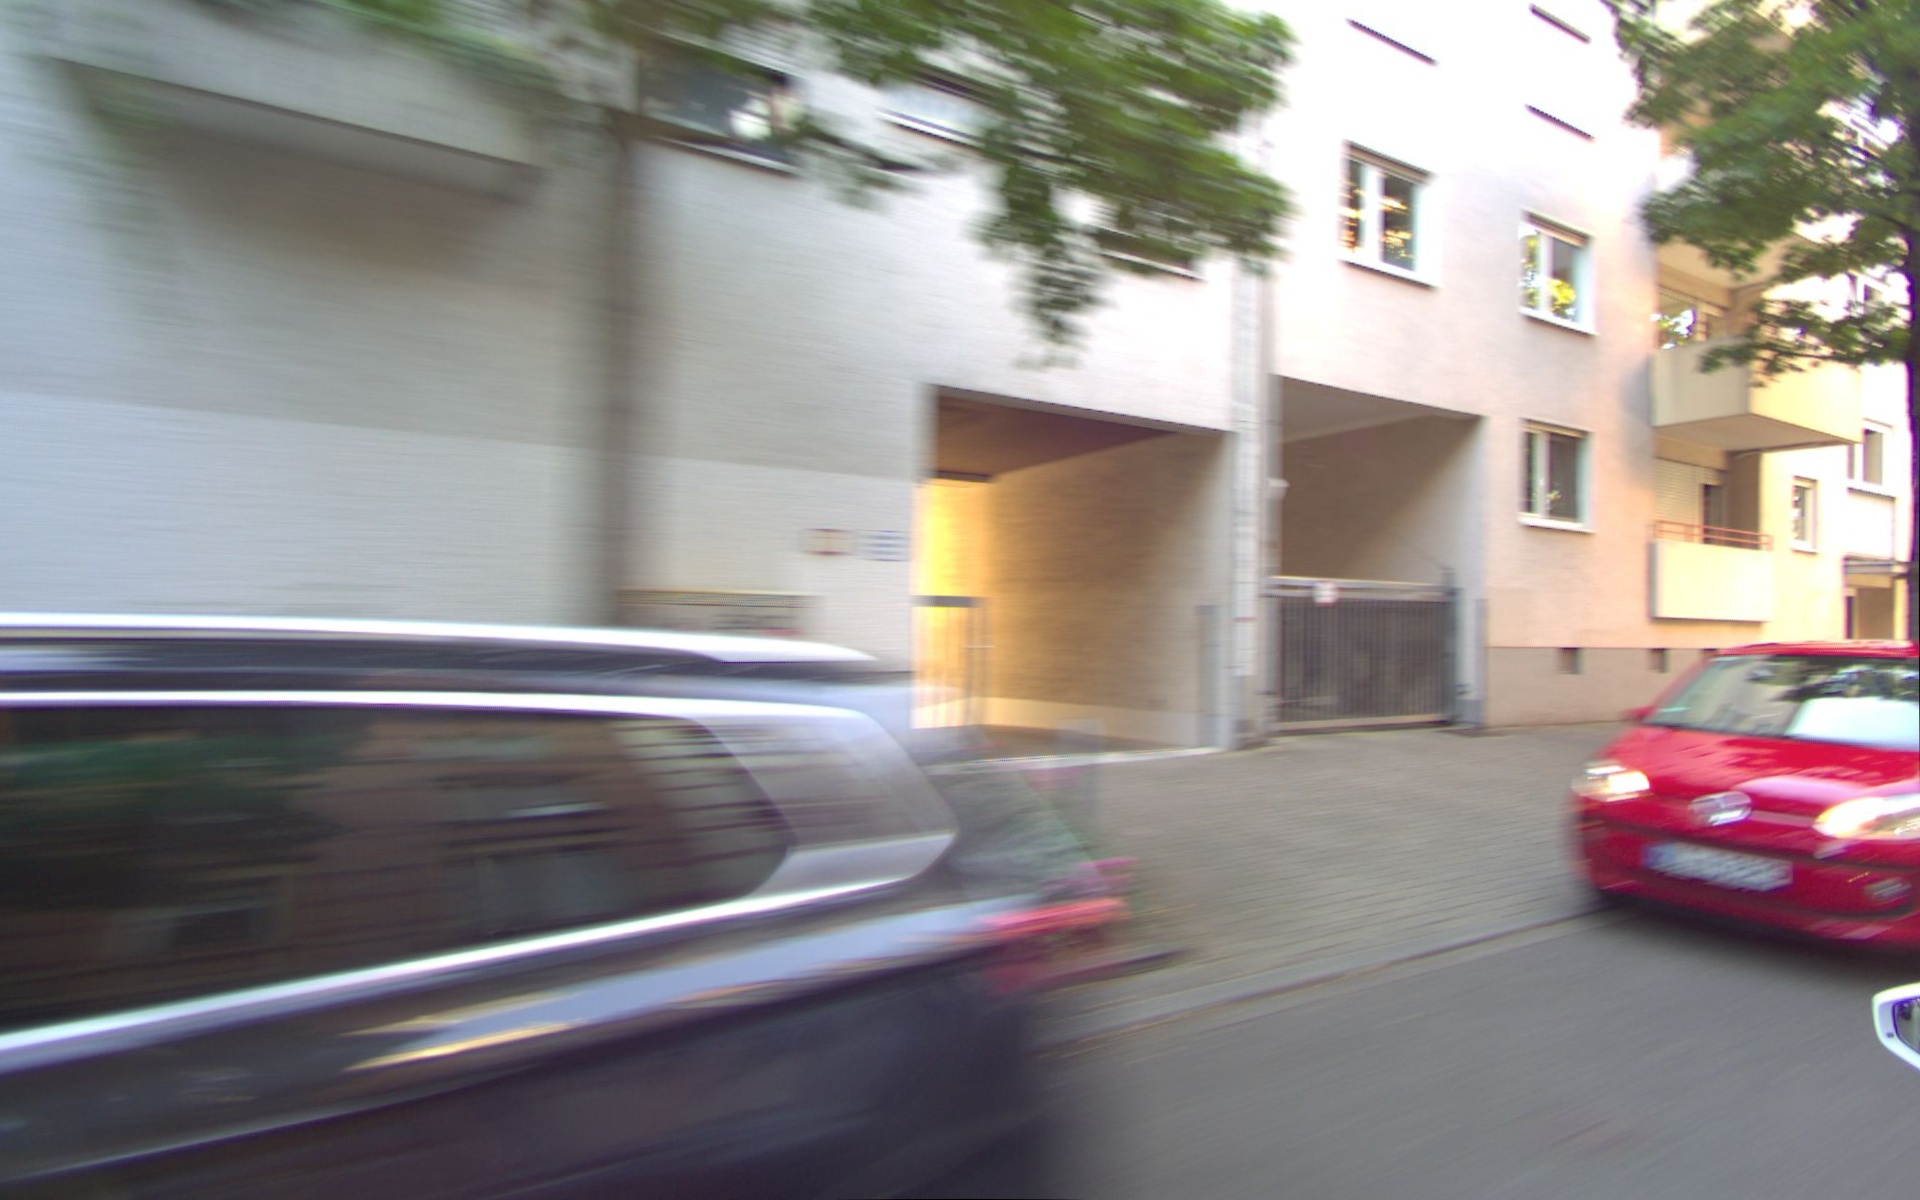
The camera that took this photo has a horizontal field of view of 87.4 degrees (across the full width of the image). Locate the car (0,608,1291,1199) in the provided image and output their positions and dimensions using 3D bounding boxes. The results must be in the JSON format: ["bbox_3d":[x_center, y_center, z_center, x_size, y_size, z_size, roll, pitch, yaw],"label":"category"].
[{"bbox_3d":[-1.801,0.750,1.431,4.449,1.471,1.838,2,-1,-30],"label":"car"}]

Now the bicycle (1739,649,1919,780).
[{"bbox_3d":[9.244,1.164,10.354,1.792,1.211,0.605,2,1,15],"label":"bicycle"}]

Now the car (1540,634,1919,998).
[{"bbox_3d":[4.994,0.938,5.578,3.503,1.449,1.622,2,-2,-32],"label":"car"}]
